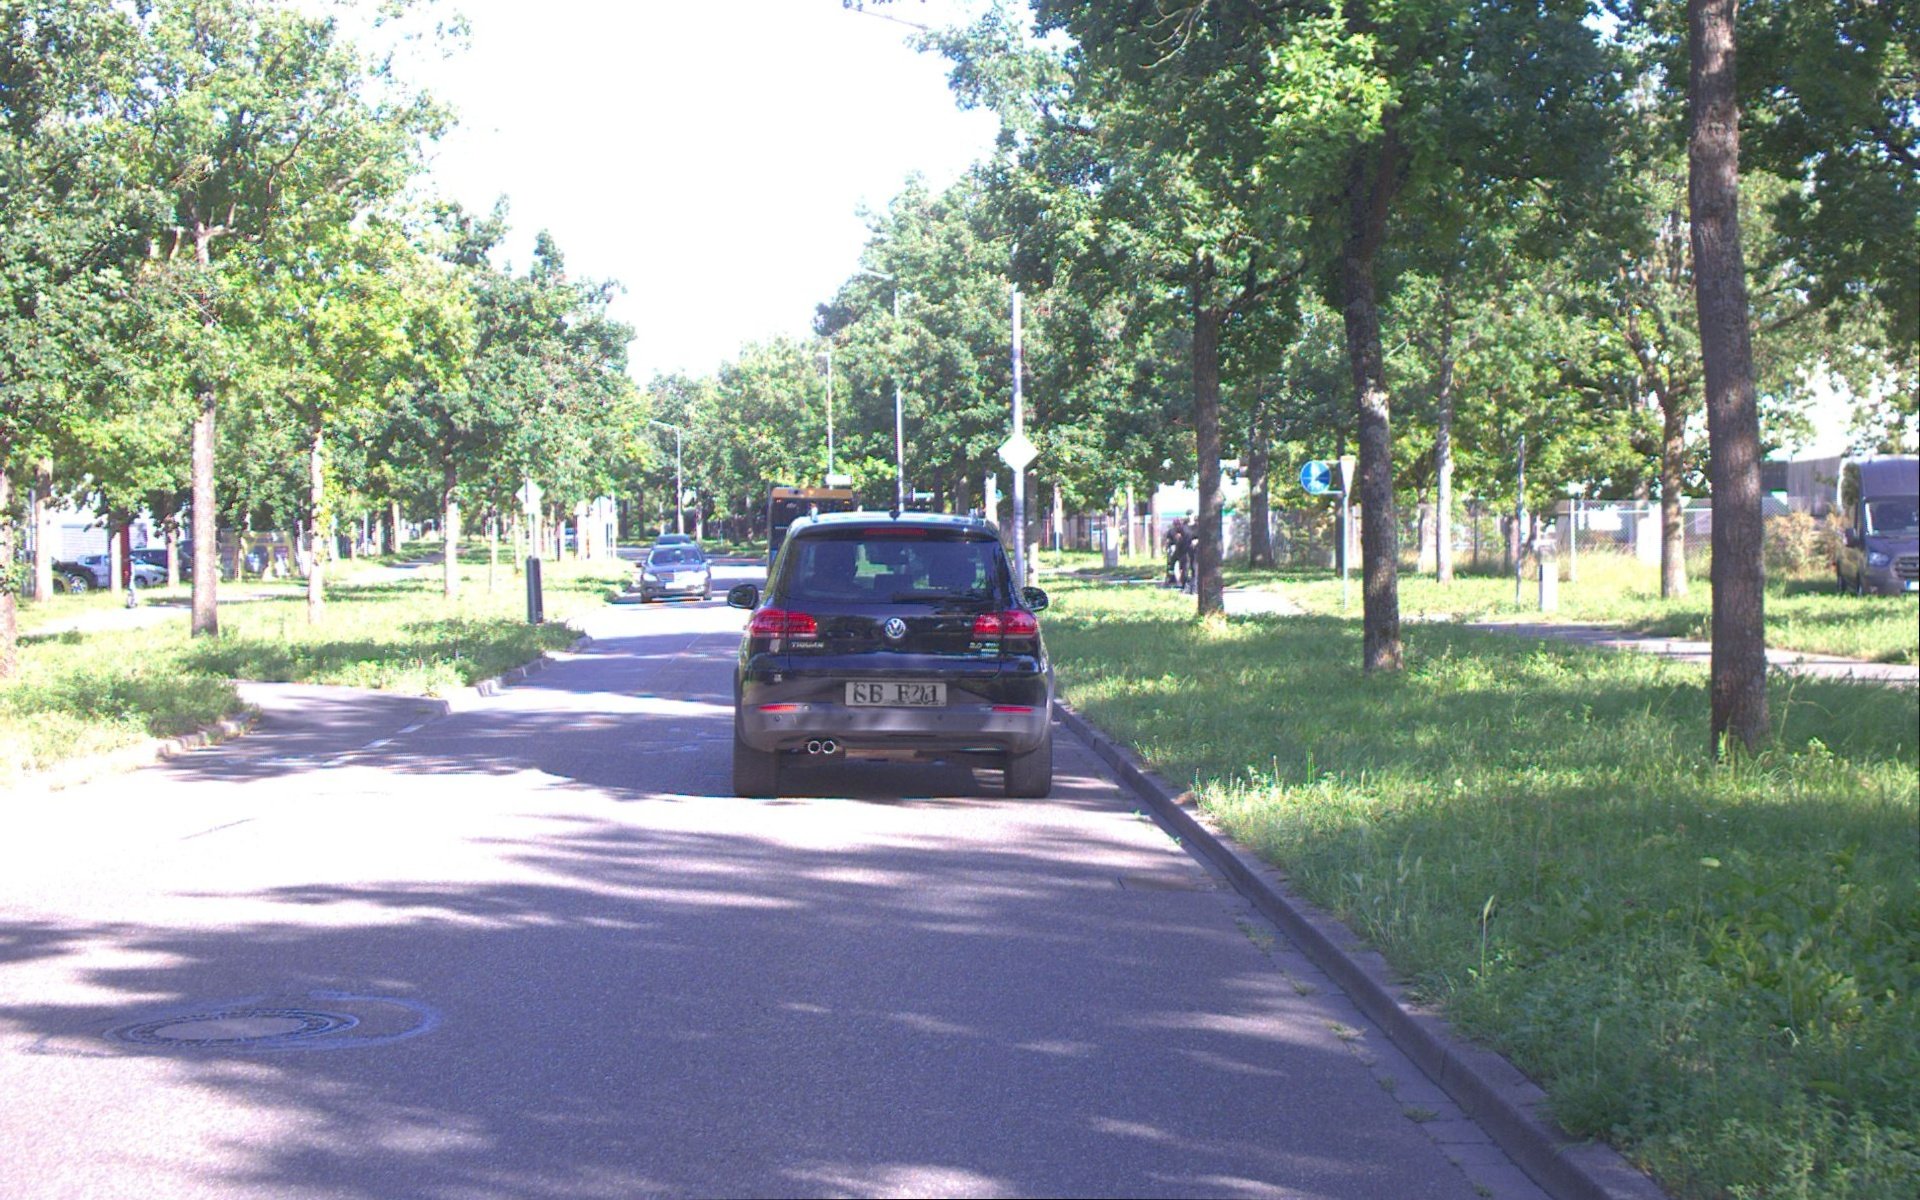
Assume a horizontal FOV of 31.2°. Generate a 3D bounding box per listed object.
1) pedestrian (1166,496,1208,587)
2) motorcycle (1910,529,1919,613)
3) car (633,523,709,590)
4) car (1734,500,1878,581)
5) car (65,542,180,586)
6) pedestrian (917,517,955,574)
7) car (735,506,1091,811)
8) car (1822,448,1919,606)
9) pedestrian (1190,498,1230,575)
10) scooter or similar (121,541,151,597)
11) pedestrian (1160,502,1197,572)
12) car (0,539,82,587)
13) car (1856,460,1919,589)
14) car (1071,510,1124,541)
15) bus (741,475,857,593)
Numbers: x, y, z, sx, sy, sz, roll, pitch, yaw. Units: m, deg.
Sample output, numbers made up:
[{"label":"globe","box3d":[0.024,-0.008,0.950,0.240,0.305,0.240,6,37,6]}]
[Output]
[{"label":"pedestrian","box3d":[4.655,-1.213,70.631,0.725,1.806,0.868,-1,4,-4]},{"label":"motorcycle","box3d":[14.817,-0.472,51.755,0.663,1.227,2.405,-1,-3,8]},{"label":"car","box3d":[-7.279,-1.119,86.814,1.765,1.523,4.496,-2,2,-4]},{"label":"car","box3d":[18.027,-1.279,73.410,2.005,1.658,3.597,-1,1,-3]},{"label":"car","box3d":[-31.817,-1.366,130.656,3.744,1.612,1.963,-1,1,11]},{"label":"pedestrian","box3d":[-0.718,-1.623,101.852,1.019,1.646,1.100,-1,1,-4]},{"label":"car","box3d":[-0.398,0.261,20.996,1.936,1.650,4.428,0,2,-4]},{"label":"car","box3d":[16.985,-1.381,62.136,2.085,2.557,5.971,1,4,8]},{"label":"pedestrian","box3d":[5.836,-1.483,80.311,0.725,1.749,0.868,-3,1,-3]},{"label":"scooter or similar","box3d":[-19.144,-0.729,79.880,0.395,1.275,1.441,-1,1,-3]},{"label":"pedestrian","box3d":[5.054,-1.458,79.475,0.725,1.597,0.868,-1,1,-4]},{"label":"car","box3d":[-29.057,-1.112,104.791,3.943,1.397,1.999,-3,2,-45]},{"label":"car","box3d":[20.687,-1.612,72.275,2.160,2.634,4.852,-1,1,-3]},{"label":"car","box3d":[7.957,-4.351,199.169,2.184,1.738,4.643,-1,2,-9]},{"label":"bus","box3d":[-5.126,-2.110,107.637,2.764,3.444,11.214,-1,2,-7]}]
